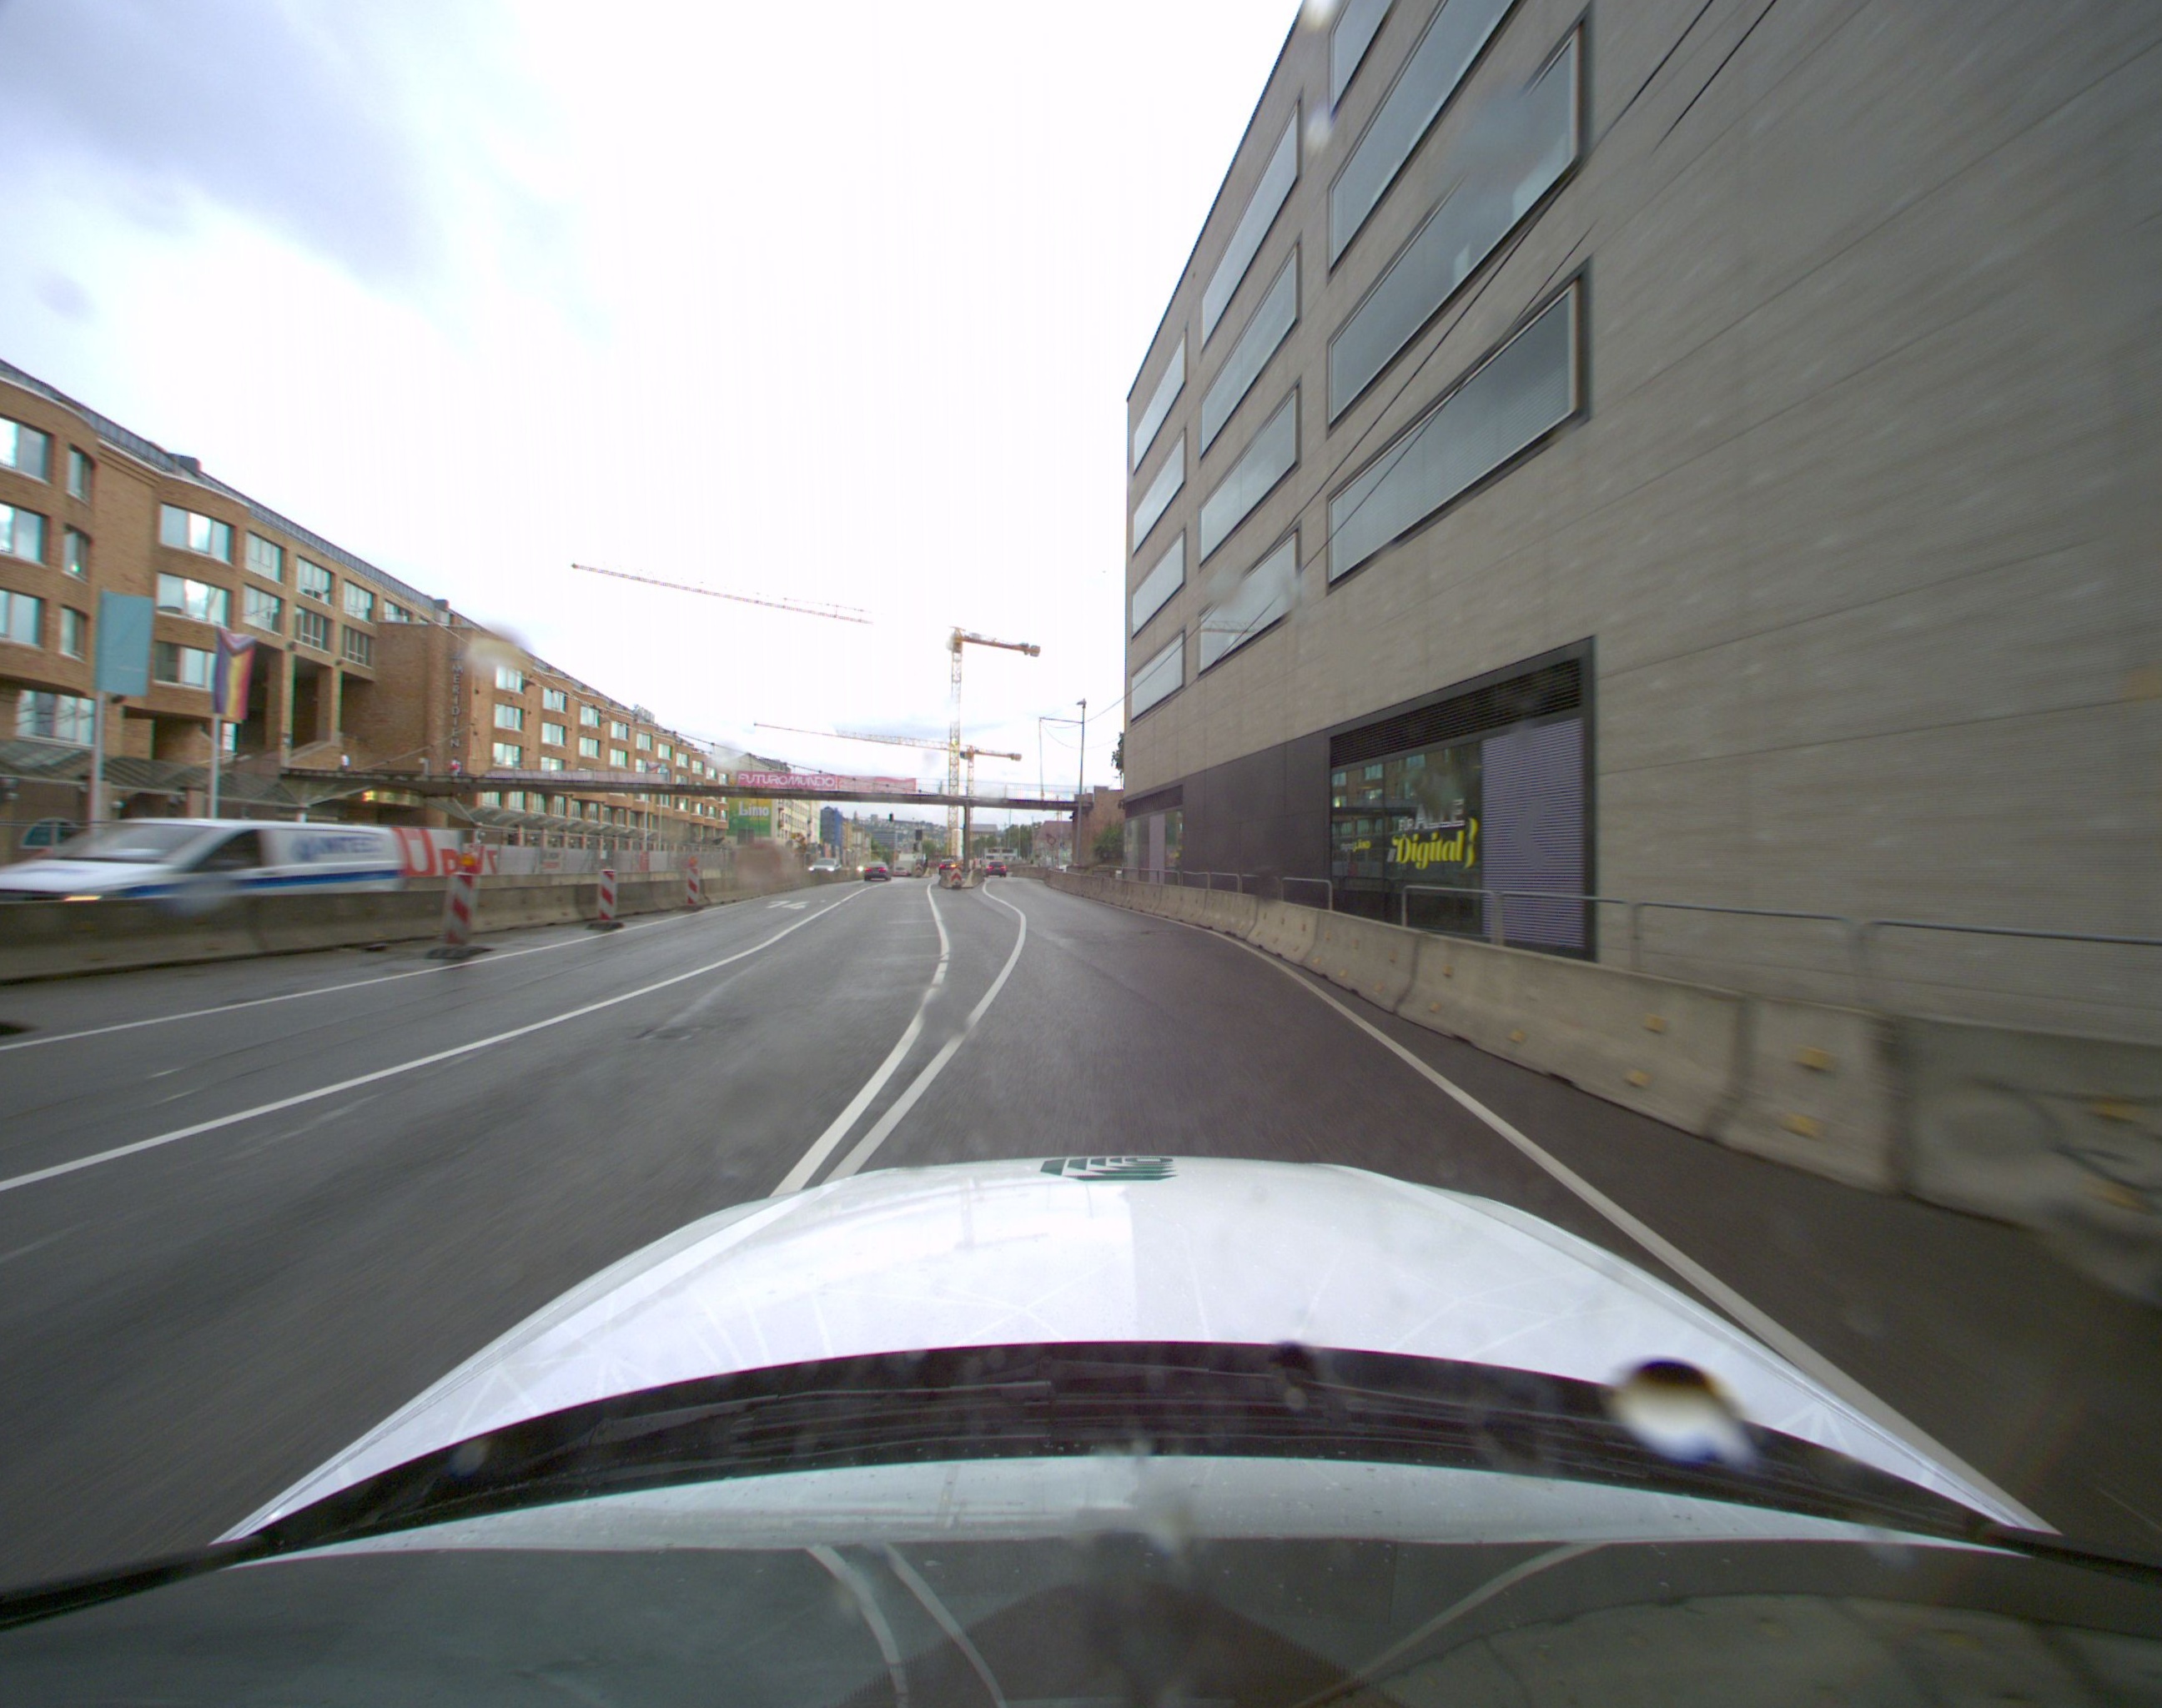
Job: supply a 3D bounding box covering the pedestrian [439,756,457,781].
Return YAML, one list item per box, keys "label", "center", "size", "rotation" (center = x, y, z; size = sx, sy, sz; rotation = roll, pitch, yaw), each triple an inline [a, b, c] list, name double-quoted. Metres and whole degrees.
- label: "pedestrian"
  center: [-37.936, -5.131, 48.831]
  size: [0.620, 1.452, 0.617]
  rotation: [0, -1, -8]

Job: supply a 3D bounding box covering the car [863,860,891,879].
- label: "car"
  center: [-15.703, 1.172, 62.890]
  size: [1.864, 1.443, 4.638]
  rotation: [1, -1, -11]

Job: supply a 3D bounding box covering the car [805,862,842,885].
- label: "car"
  center: [-19.398, 1.449, 61.605]
  size: [1.993, 1.623, 4.687]
  rotation: [0, 0, -9]

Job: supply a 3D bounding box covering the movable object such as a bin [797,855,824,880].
- label: "movable object such as a bin"
  center: [-26.634, 1.311, 80.299]
  size: [2.029, 2.277, 4.273]
  rotation: [-3, 0, -14]

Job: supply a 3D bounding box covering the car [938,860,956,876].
- label: "car"
  center: [-14.439, 1.471, 87.991]
  size: [1.862, 1.661, 4.642]
  rotation: [1, -1, -8]

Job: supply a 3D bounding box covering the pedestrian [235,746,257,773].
- label: "pedestrian"
  center: [-47.575, -5.398, 46.403]
  size: [0.620, 1.452, 0.617]
  rotation: [0, -1, -8]

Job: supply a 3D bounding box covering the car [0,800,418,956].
- label: "car"
  center: [-13.040, 0.319, 12.381]
  size: [1.989, 1.885, 4.865]
  rotation: [1, -1, -2]

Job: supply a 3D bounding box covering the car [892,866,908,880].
- label: "car"
  center: [-23.918, 2.436, 107.695]
  size: [1.864, 1.765, 4.637]
  rotation: [1, -1, -12]

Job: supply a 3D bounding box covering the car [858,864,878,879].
- label: "car"
  center: [-24.656, 2.006, 94.215]
  size: [1.805, 1.623, 3.892]
  rotation: [0, 1, -8]

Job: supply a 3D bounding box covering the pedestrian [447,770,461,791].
- label: "pedestrian"
  center: [-38.113, -4.462, 49.518]
  size: [0.475, 1.194, 0.483]
  rotation: [0, -1, -8]

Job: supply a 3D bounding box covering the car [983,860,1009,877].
- label: "car"
  center: [-7.445, 1.221, 70.903]
  size: [1.864, 1.433, 4.638]
  rotation: [1, -1, -11]
